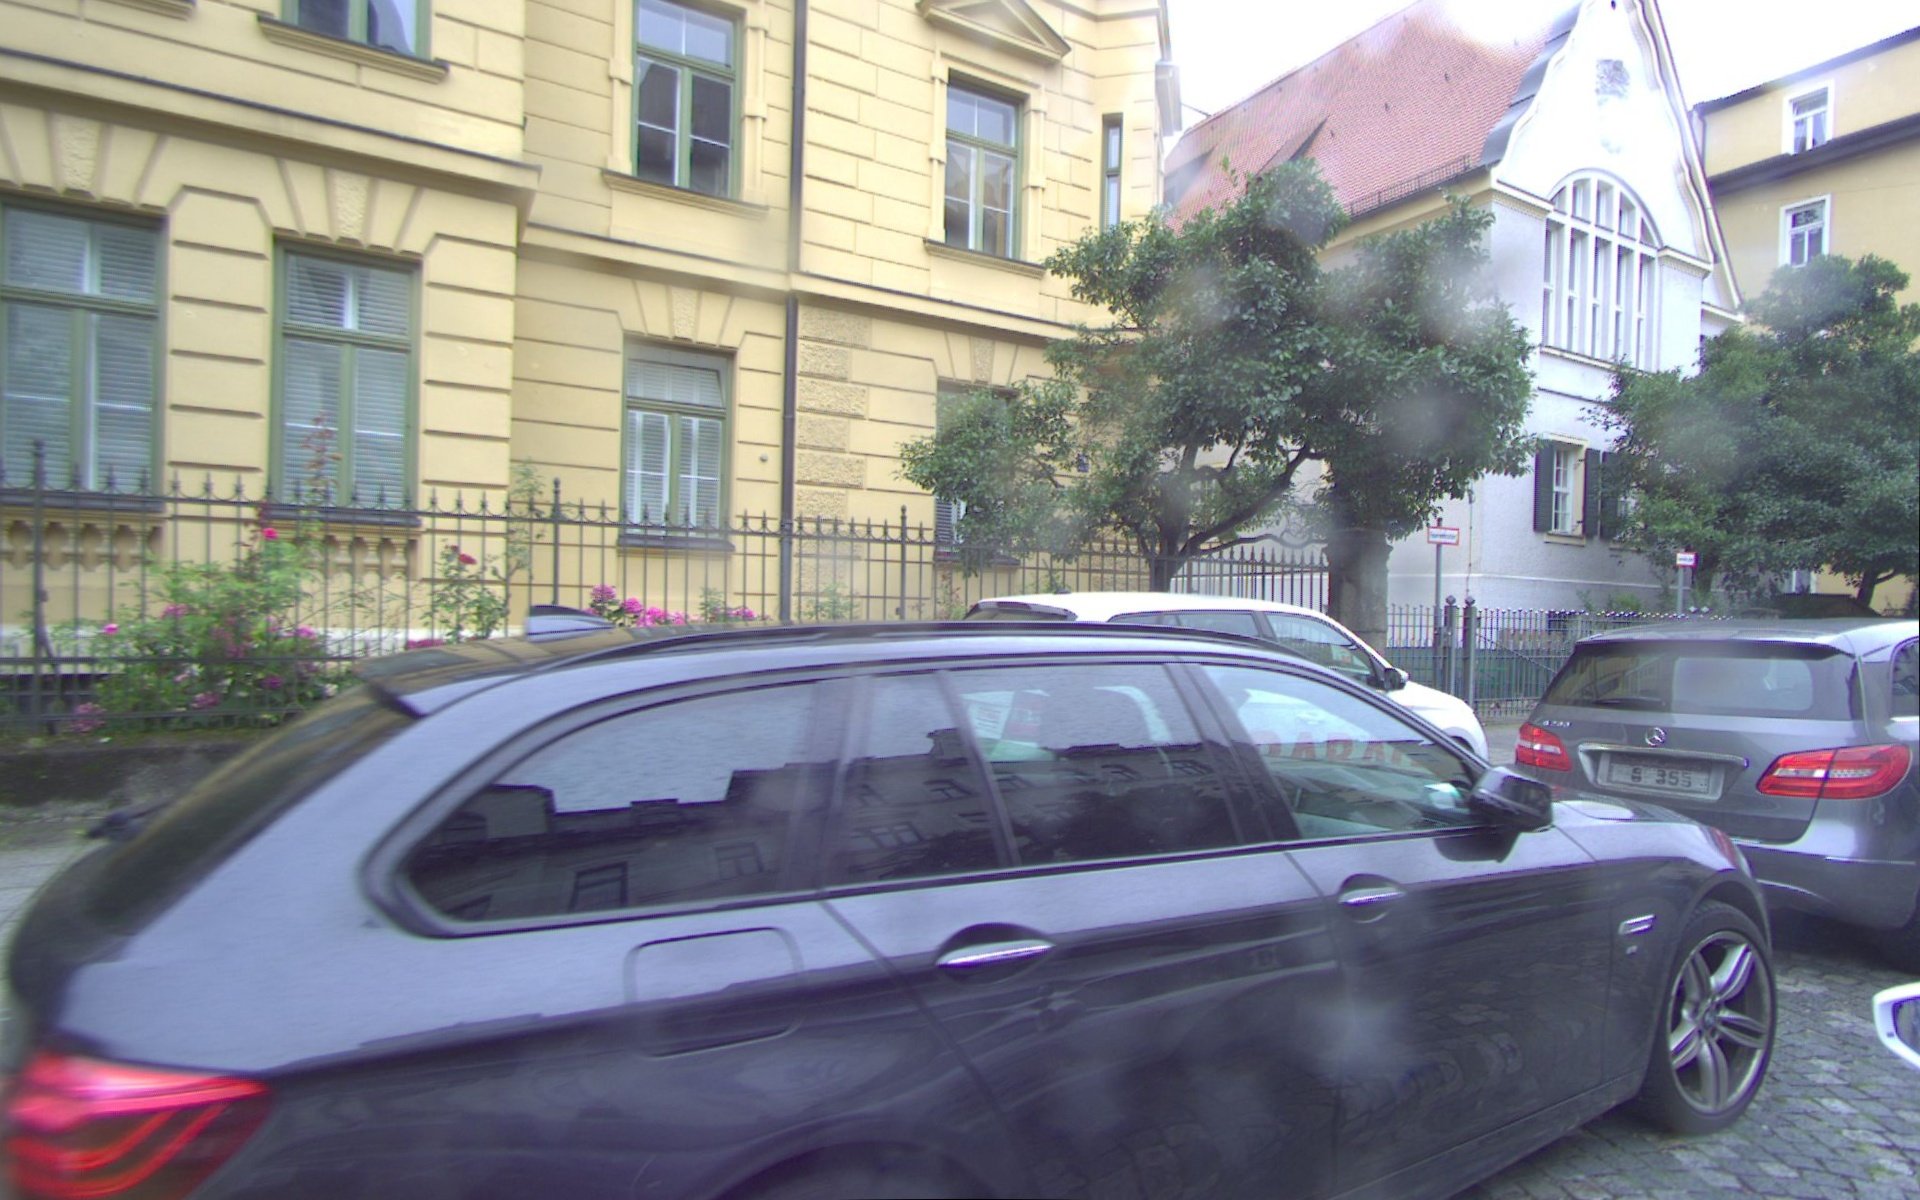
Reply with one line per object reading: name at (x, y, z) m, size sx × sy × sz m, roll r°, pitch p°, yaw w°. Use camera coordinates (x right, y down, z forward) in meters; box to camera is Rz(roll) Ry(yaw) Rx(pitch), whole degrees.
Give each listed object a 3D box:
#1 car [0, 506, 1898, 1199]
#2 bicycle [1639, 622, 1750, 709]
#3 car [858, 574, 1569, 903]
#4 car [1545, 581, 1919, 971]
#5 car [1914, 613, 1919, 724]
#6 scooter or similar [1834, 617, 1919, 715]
car at (0.510, 0.722, 2.837) m, size 5.076 × 1.489 × 1.860 m, roll 1°, pitch -2°, yaw -32°
bicycle at (11.528, 1.002, 15.748) m, size 2.036 × 1.275 × 0.603 m, roll 1°, pitch 0°, yaw -30°
car at (1.717, 0.651, 6.413) m, size 4.337 × 1.485 × 1.833 m, roll 1°, pitch 1°, yaw -30°
car at (5.354, 0.781, 5.832) m, size 4.147 × 1.607 × 1.730 m, roll 1°, pitch -2°, yaw -33°
car at (15.772, 1.033, 14.501) m, size 4.415 × 1.557 × 1.731 m, roll 1°, pitch 1°, yaw -31°
scooter or similar at (16.038, 1.072, 17.024) m, size 2.603 × 1.543 × 1.057 m, roll 1°, pitch 0°, yaw -30°
